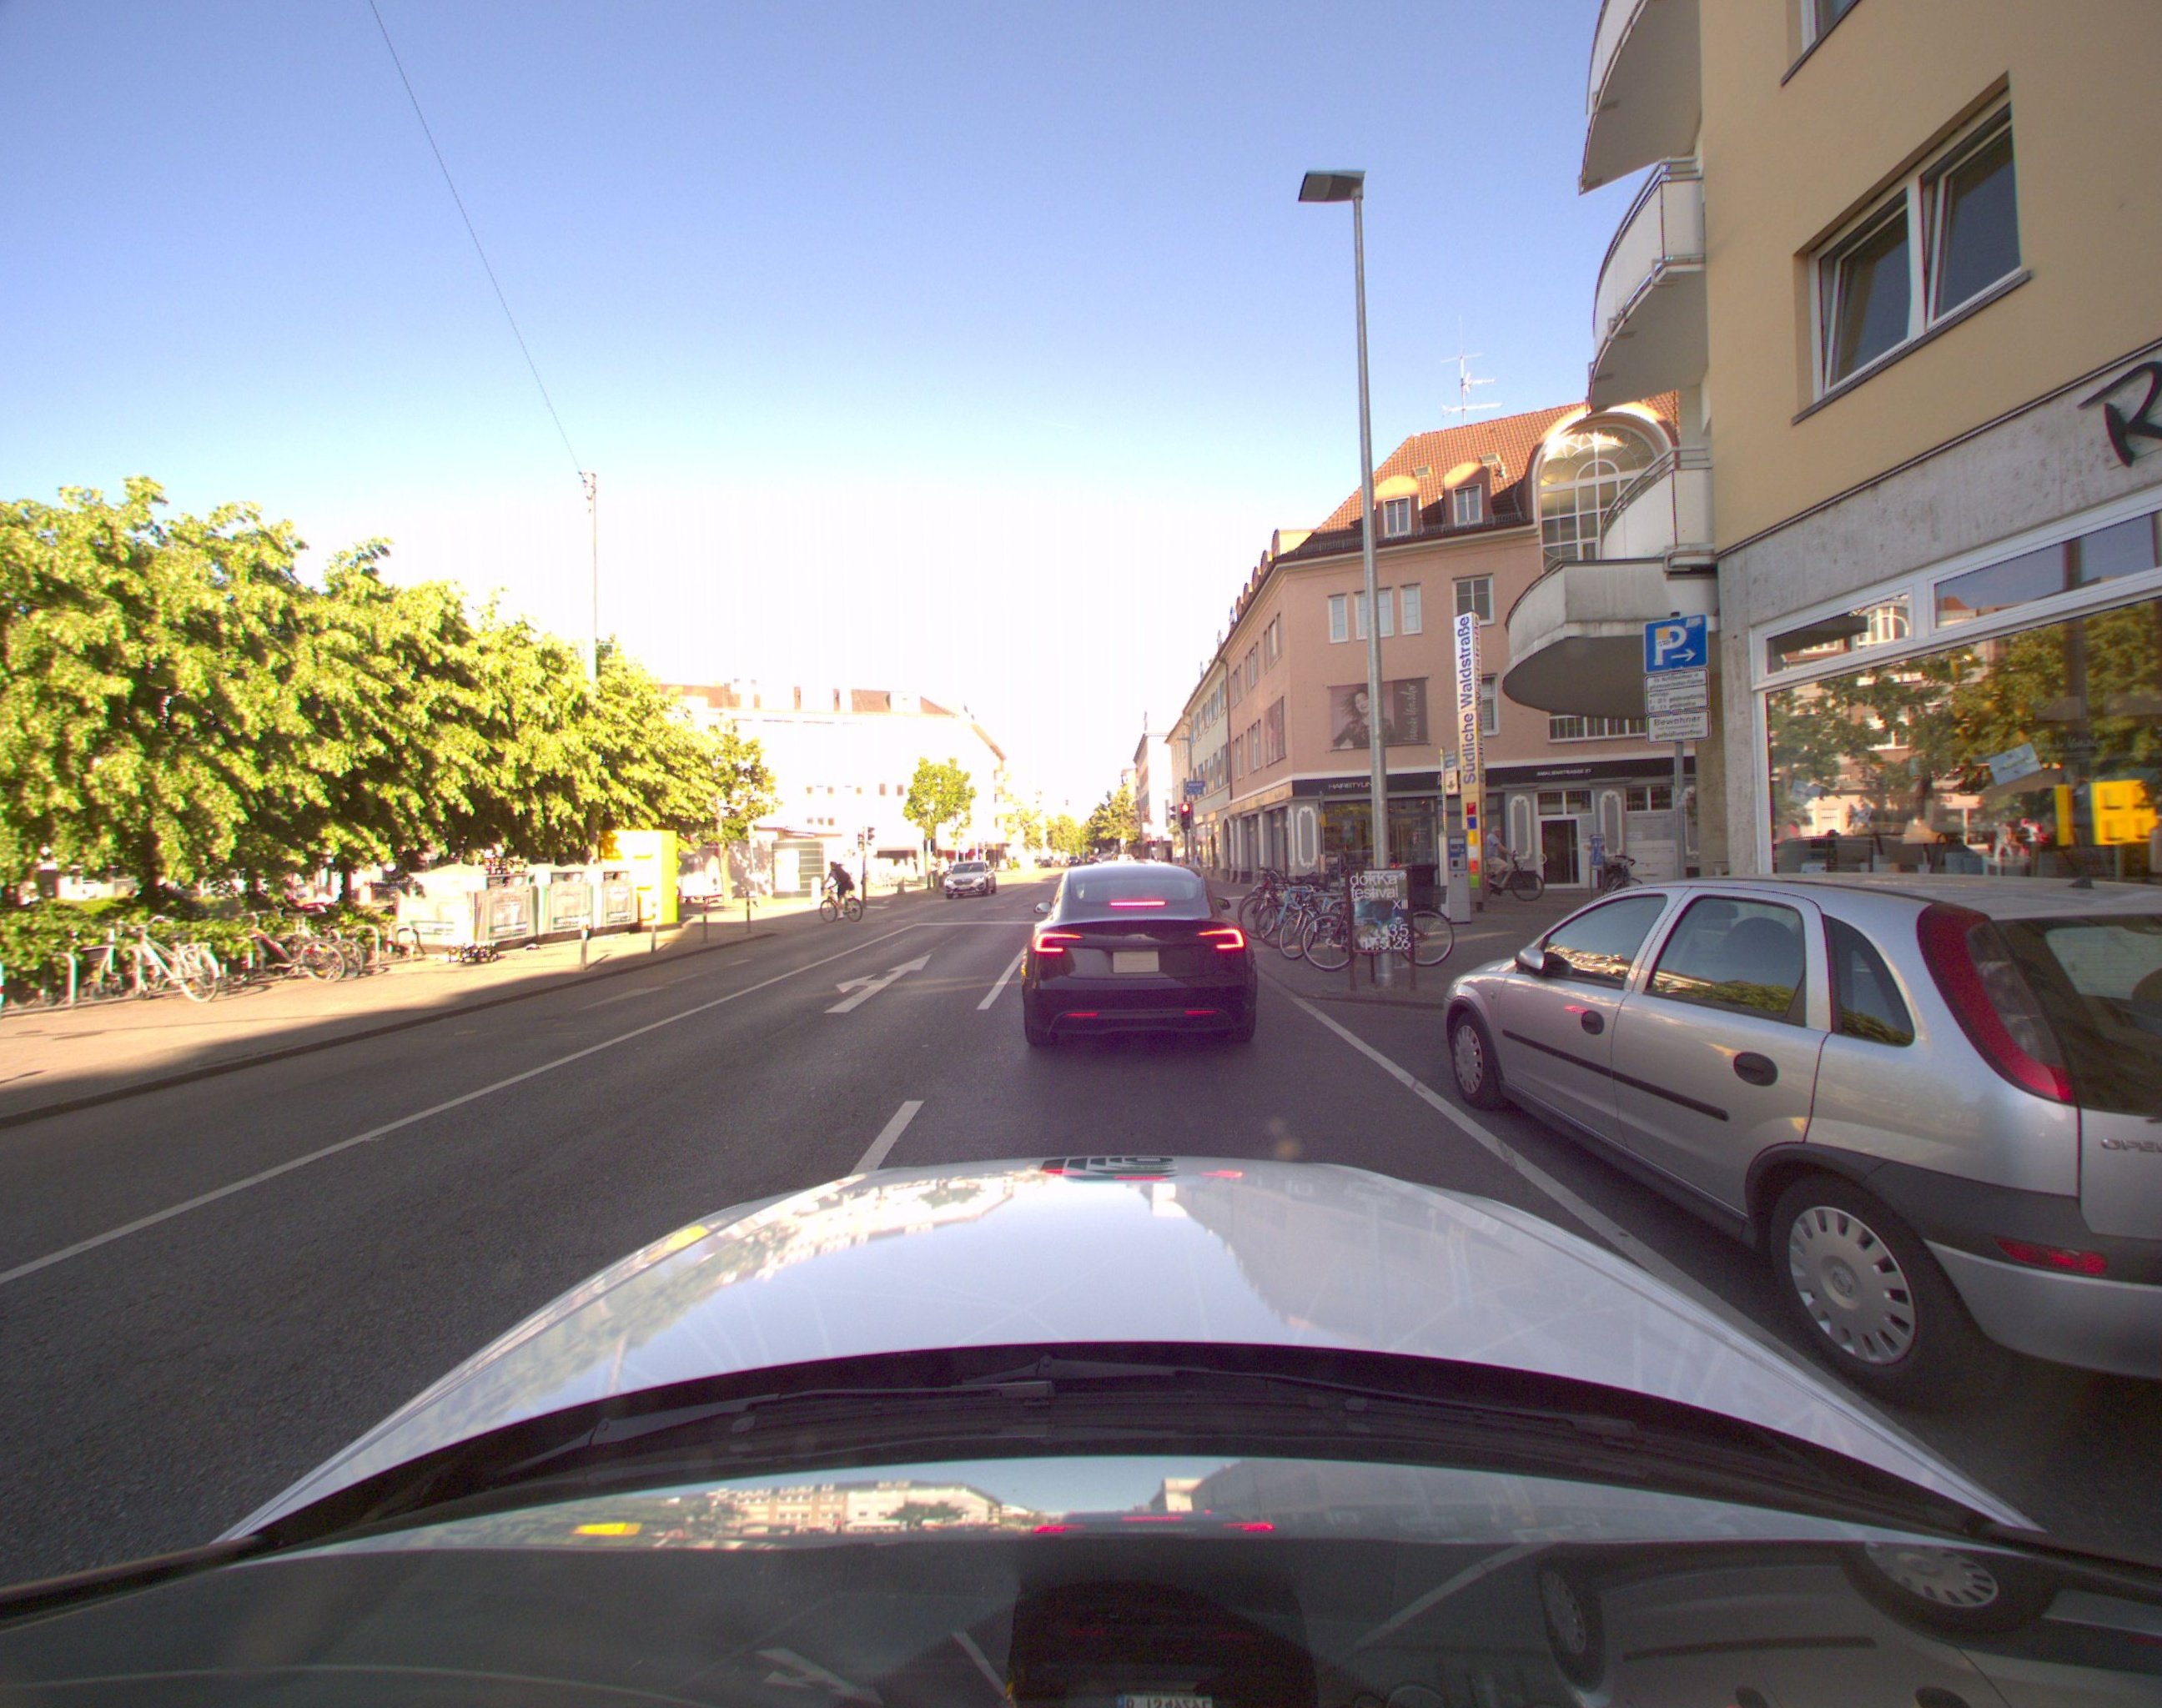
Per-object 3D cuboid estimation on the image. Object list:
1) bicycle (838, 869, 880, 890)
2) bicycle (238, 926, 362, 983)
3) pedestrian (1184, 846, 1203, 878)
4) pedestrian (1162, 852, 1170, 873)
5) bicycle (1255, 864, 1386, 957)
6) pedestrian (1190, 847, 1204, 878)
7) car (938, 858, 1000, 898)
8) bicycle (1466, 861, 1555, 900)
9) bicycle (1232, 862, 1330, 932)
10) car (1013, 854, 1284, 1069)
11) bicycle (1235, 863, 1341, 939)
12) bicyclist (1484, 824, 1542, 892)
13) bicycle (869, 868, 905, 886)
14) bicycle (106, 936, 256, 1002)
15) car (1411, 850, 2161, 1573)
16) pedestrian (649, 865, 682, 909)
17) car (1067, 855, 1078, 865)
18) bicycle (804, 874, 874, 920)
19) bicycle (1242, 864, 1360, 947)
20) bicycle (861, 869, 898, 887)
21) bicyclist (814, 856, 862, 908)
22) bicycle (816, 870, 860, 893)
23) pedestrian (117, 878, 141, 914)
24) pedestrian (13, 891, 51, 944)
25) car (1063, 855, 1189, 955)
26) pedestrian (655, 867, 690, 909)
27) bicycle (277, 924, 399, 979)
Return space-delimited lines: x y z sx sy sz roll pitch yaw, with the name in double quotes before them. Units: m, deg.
"bicycle" -12.430 1.441 45.653 2.075 1.104 0.806 -1 0 1
"bicycle" -11.283 1.451 11.772 1.465 0.769 0.442 -1 -1 6
"pedestrian" 6.535 0.458 47.284 0.995 1.850 0.615 -1 0 1
"pedestrian" 6.703 0.661 64.411 0.568 1.691 0.387 -1 0 1
"bicycle" 3.294 0.772 11.254 1.622 1.160 0.433 -3 0 0
"pedestrian" 6.737 0.491 47.341 0.701 1.783 0.534 -1 0 1
"car" -4.927 1.025 36.322 1.986 1.541 4.002 -5 0 2
"bicycle" 10.618 0.643 20.199 1.850 0.946 0.631 0 0 12
"bicycle" 3.627 0.766 14.811 1.621 1.160 0.433 -3 0 2
"car" 0.549 0.748 7.531 1.842 1.455 3.788 -1 0 2
"bicycle" 3.452 0.778 13.637 1.622 1.160 0.433 -3 0 0
"bicyclist" 10.696 0.102 20.180 1.112 1.654 0.631 -1 0 12
"bicycle" -12.521 1.454 52.628 2.075 1.104 0.806 -1 0 1
"bicycle" -11.459 1.450 10.379 1.645 0.769 0.476 -1 -1 10
"car" 2.959 0.701 3.524 1.615 1.394 3.888 -1 0 3
"pedestrian" -16.656 1.308 32.683 0.897 1.725 0.745 -1 0 5
"car" -1.441 0.996 143.761 1.824 1.724 4.000 -1 0 0
"bicycle" -6.817 1.214 22.973 1.752 1.233 0.803 -1 0 22
"bicycle" 3.350 0.778 12.457 1.622 1.160 0.433 -3 0 0
"bicycle" -12.478 1.482 50.432 2.075 1.104 0.806 -1 0 1
"bicyclist" -6.852 0.783 22.981 0.996 1.435 0.803 -1 0 23
"bicycle" -12.847 1.451 43.141 2.075 1.104 0.806 -1 0 1
"pedestrian" -48.024 2.111 41.064 0.576 1.792 0.604 -1 -1 19
"pedestrian" -40.495 2.449 31.445 0.577 2.014 0.682 -1 -1 9
"car" 0.753 0.760 13.944 1.842 1.455 3.788 -1 0 2
"pedestrian" -16.425 1.374 32.773 0.981 1.636 0.738 -1 0 5
"bicycle" -11.244 1.466 12.334 1.466 0.769 0.475 -1 -1 4
